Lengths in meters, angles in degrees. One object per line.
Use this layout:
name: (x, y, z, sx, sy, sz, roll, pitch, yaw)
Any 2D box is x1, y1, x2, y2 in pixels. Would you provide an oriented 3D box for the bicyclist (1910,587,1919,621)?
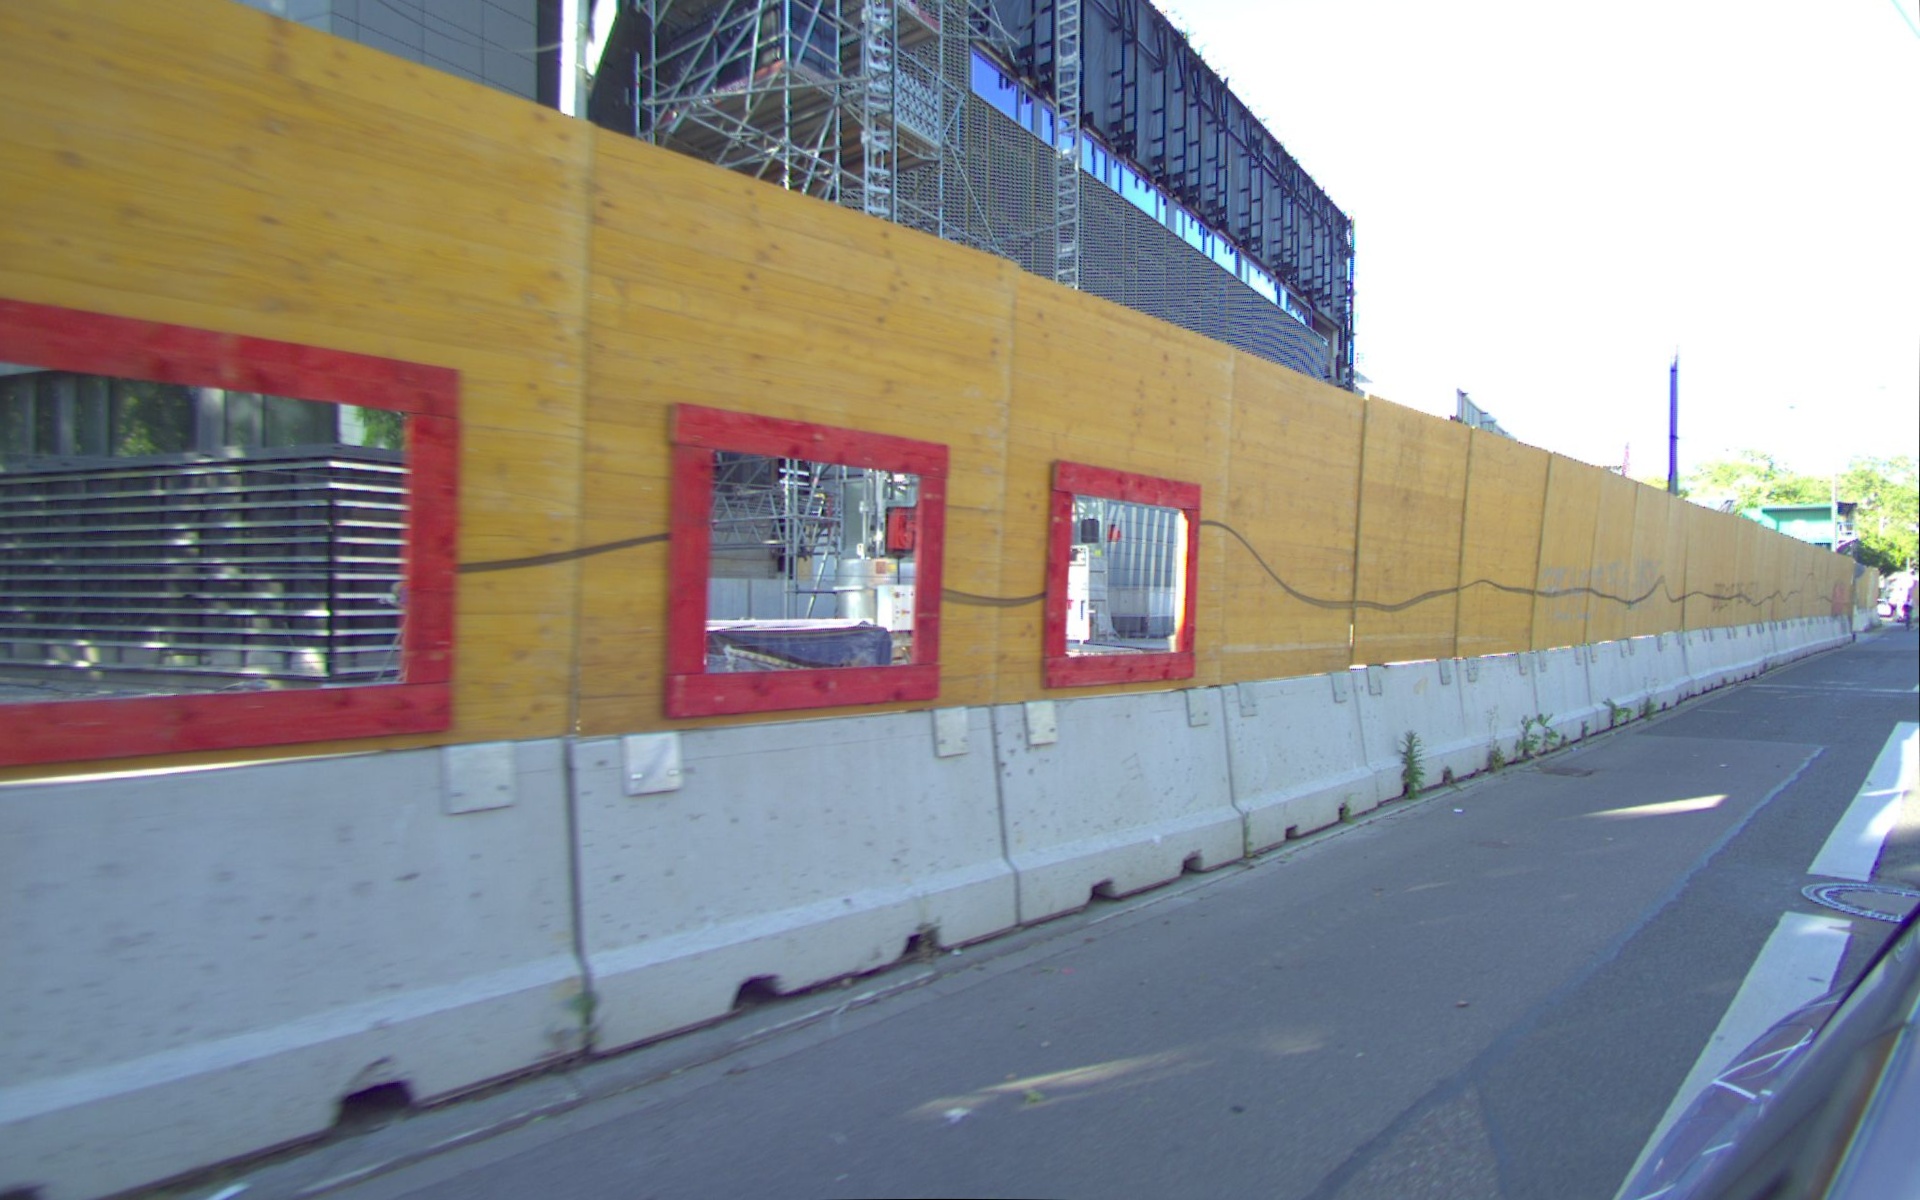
bicyclist: (46.124, 0.195, 48.684, 0.556, 1.633, 0.567, 2, 1, 44)

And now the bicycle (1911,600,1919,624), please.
bicycle: (46.001, 0.582, 48.523, 0.557, 1.141, 2.240, 2, 1, 43)
